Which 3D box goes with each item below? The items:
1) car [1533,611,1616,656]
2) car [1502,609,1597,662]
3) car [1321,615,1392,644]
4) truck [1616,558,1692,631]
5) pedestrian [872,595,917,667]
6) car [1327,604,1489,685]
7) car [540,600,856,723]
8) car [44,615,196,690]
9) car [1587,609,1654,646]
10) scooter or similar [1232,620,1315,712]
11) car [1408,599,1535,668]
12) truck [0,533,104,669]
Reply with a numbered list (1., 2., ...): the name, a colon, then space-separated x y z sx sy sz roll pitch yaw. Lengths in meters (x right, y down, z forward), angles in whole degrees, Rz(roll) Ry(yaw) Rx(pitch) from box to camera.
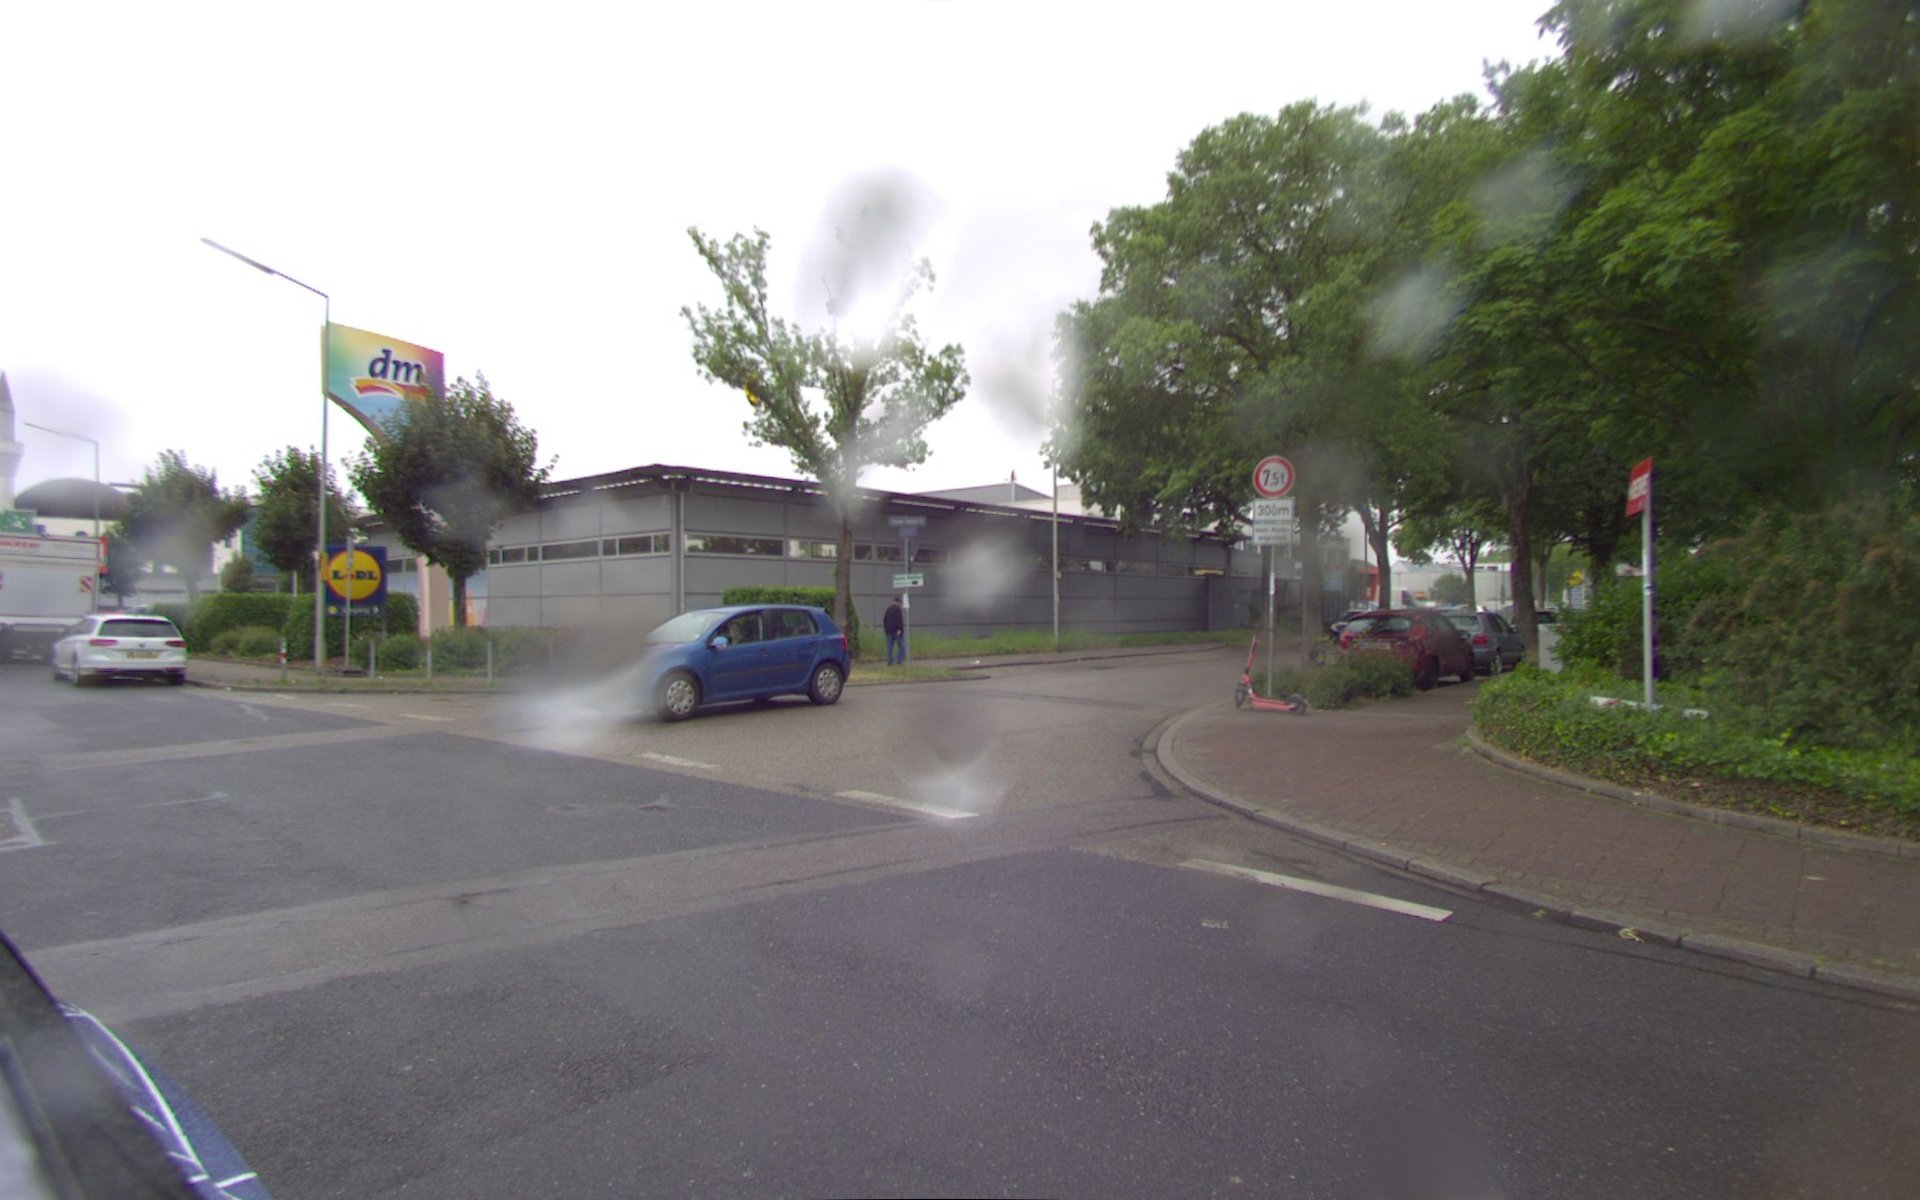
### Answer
1. car: 20.729 1.117 34.079 1.735 1.393 4.041 -1 -2 40
2. car: 17.355 1.019 29.731 1.735 1.452 3.946 -1 -2 40
3. car: 17.299 1.259 44.112 1.570 1.212 3.944 -1 -1 42
4. truck: 35.747 -0.213 52.047 2.601 3.496 6.723 -1 -1 40
5. pedestrian: -1.578 0.742 24.396 0.758 1.686 0.772 -1 -1 38
6. car: 8.537 0.808 19.113 1.735 1.374 3.946 -1 -2 40
7. car: -3.468 0.778 13.973 1.735 1.452 3.946 -1 -2 40
8. car: -18.053 1.065 21.677 4.490 1.445 1.816 -1 -3 42
9. car: 26.315 1.111 40.257 1.735 1.393 4.041 -1 -2 40
10. scooter or similar: 4.182 0.856 13.539 0.280 1.184 1.061 1 -1 -41
11. car: 11.838 0.754 23.316 1.735 1.452 3.946 -1 -2 40
12. truck: -28.887 0.081 31.145 7.865 3.775 2.851 -1 -1 42
